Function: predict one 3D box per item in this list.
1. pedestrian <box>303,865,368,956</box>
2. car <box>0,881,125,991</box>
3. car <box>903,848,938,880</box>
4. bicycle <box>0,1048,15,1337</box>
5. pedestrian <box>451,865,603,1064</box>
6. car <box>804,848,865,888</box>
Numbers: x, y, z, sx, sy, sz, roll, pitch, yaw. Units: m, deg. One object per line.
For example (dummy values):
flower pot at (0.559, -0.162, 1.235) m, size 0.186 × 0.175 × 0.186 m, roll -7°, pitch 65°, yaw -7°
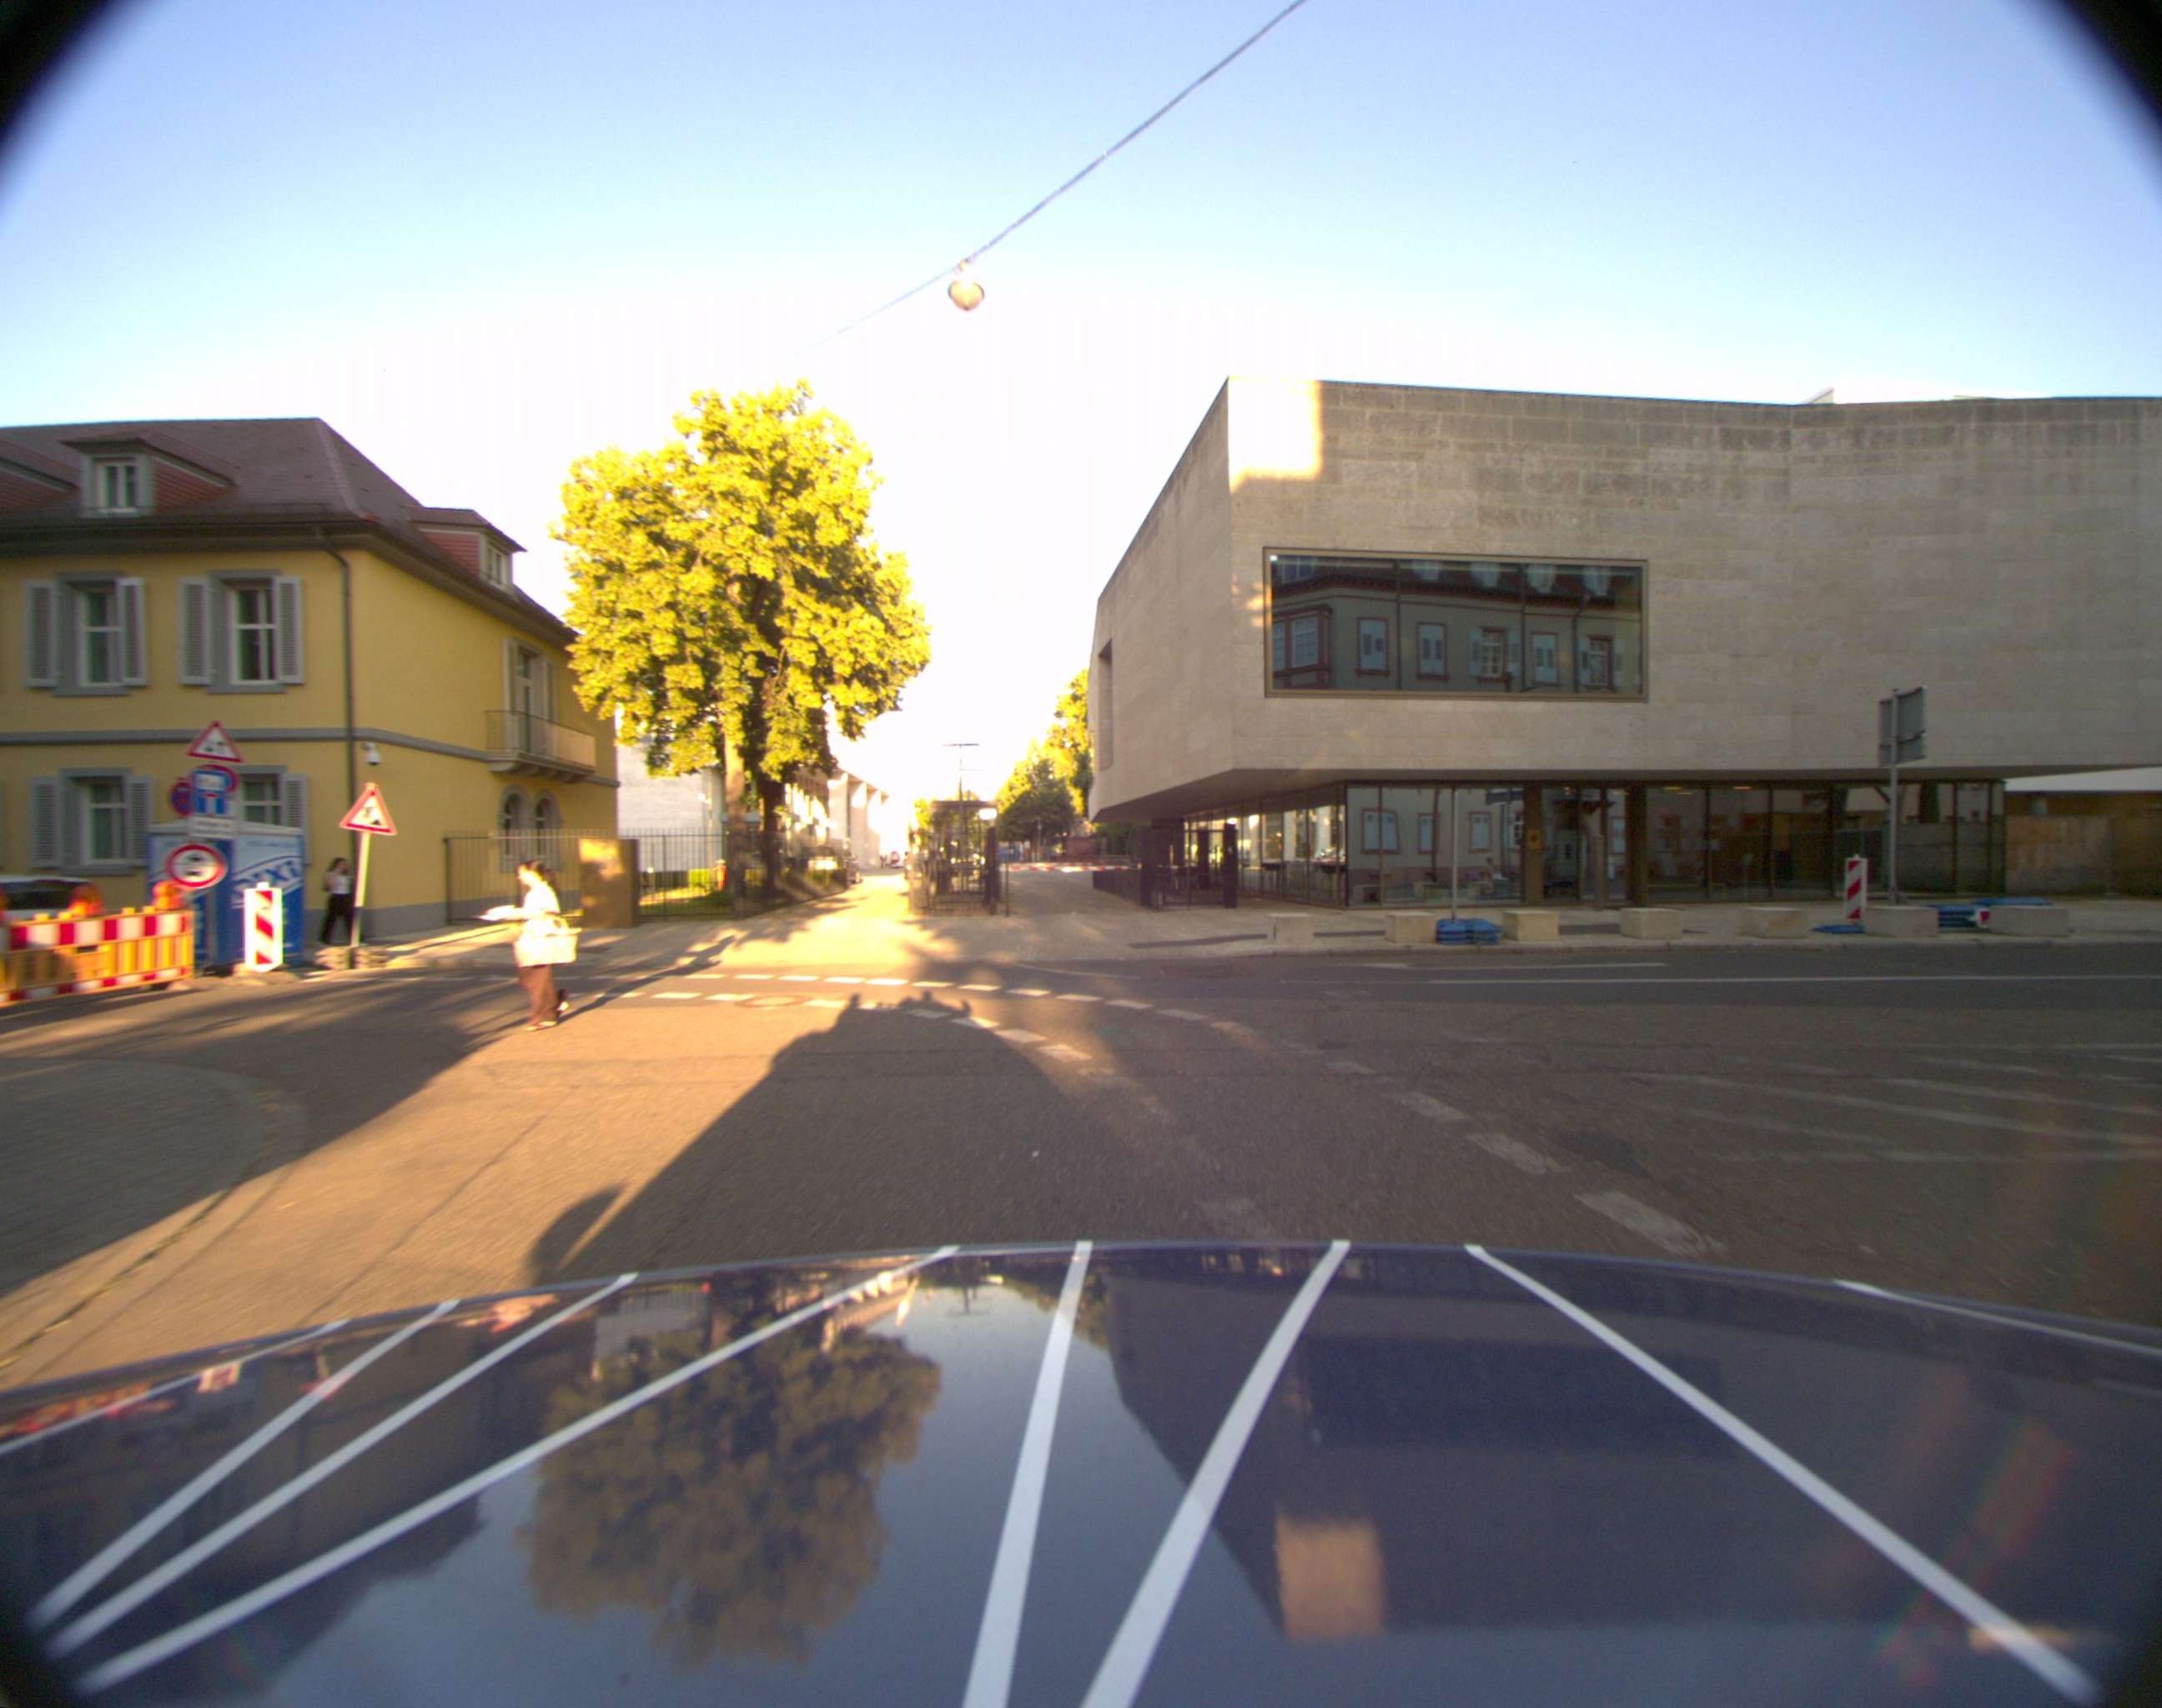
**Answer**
pedestrian at (-13.211, 0.992, 13.475) m, size 0.672 × 1.585 × 0.469 m, roll -1°, pitch 1°, yaw 4°
car at (-16.697, 1.185, 11.243) m, size 3.218 × 1.511 × 1.546 m, roll -1°, pitch -1°, yaw 1°
car at (-8.796, 0.519, 41.668) m, size 1.711 × 1.575 × 3.674 m, roll -1°, pitch 1°, yaw -12°
bicycle at (-4.105, 1.229, 1.843) m, size 0.571 × 1.041 × 1.831 m, roll 0°, pitch 0°, yaw -6°
pedestrian at (-5.064, 0.944, 6.970) m, size 0.638 × 1.649 × 0.962 m, roll 0°, pitch 1°, yaw 39°
car at (-11.603, 0.601, 36.045) m, size 1.709 × 1.726 × 4.062 m, roll 1°, pitch 1°, yaw -3°
